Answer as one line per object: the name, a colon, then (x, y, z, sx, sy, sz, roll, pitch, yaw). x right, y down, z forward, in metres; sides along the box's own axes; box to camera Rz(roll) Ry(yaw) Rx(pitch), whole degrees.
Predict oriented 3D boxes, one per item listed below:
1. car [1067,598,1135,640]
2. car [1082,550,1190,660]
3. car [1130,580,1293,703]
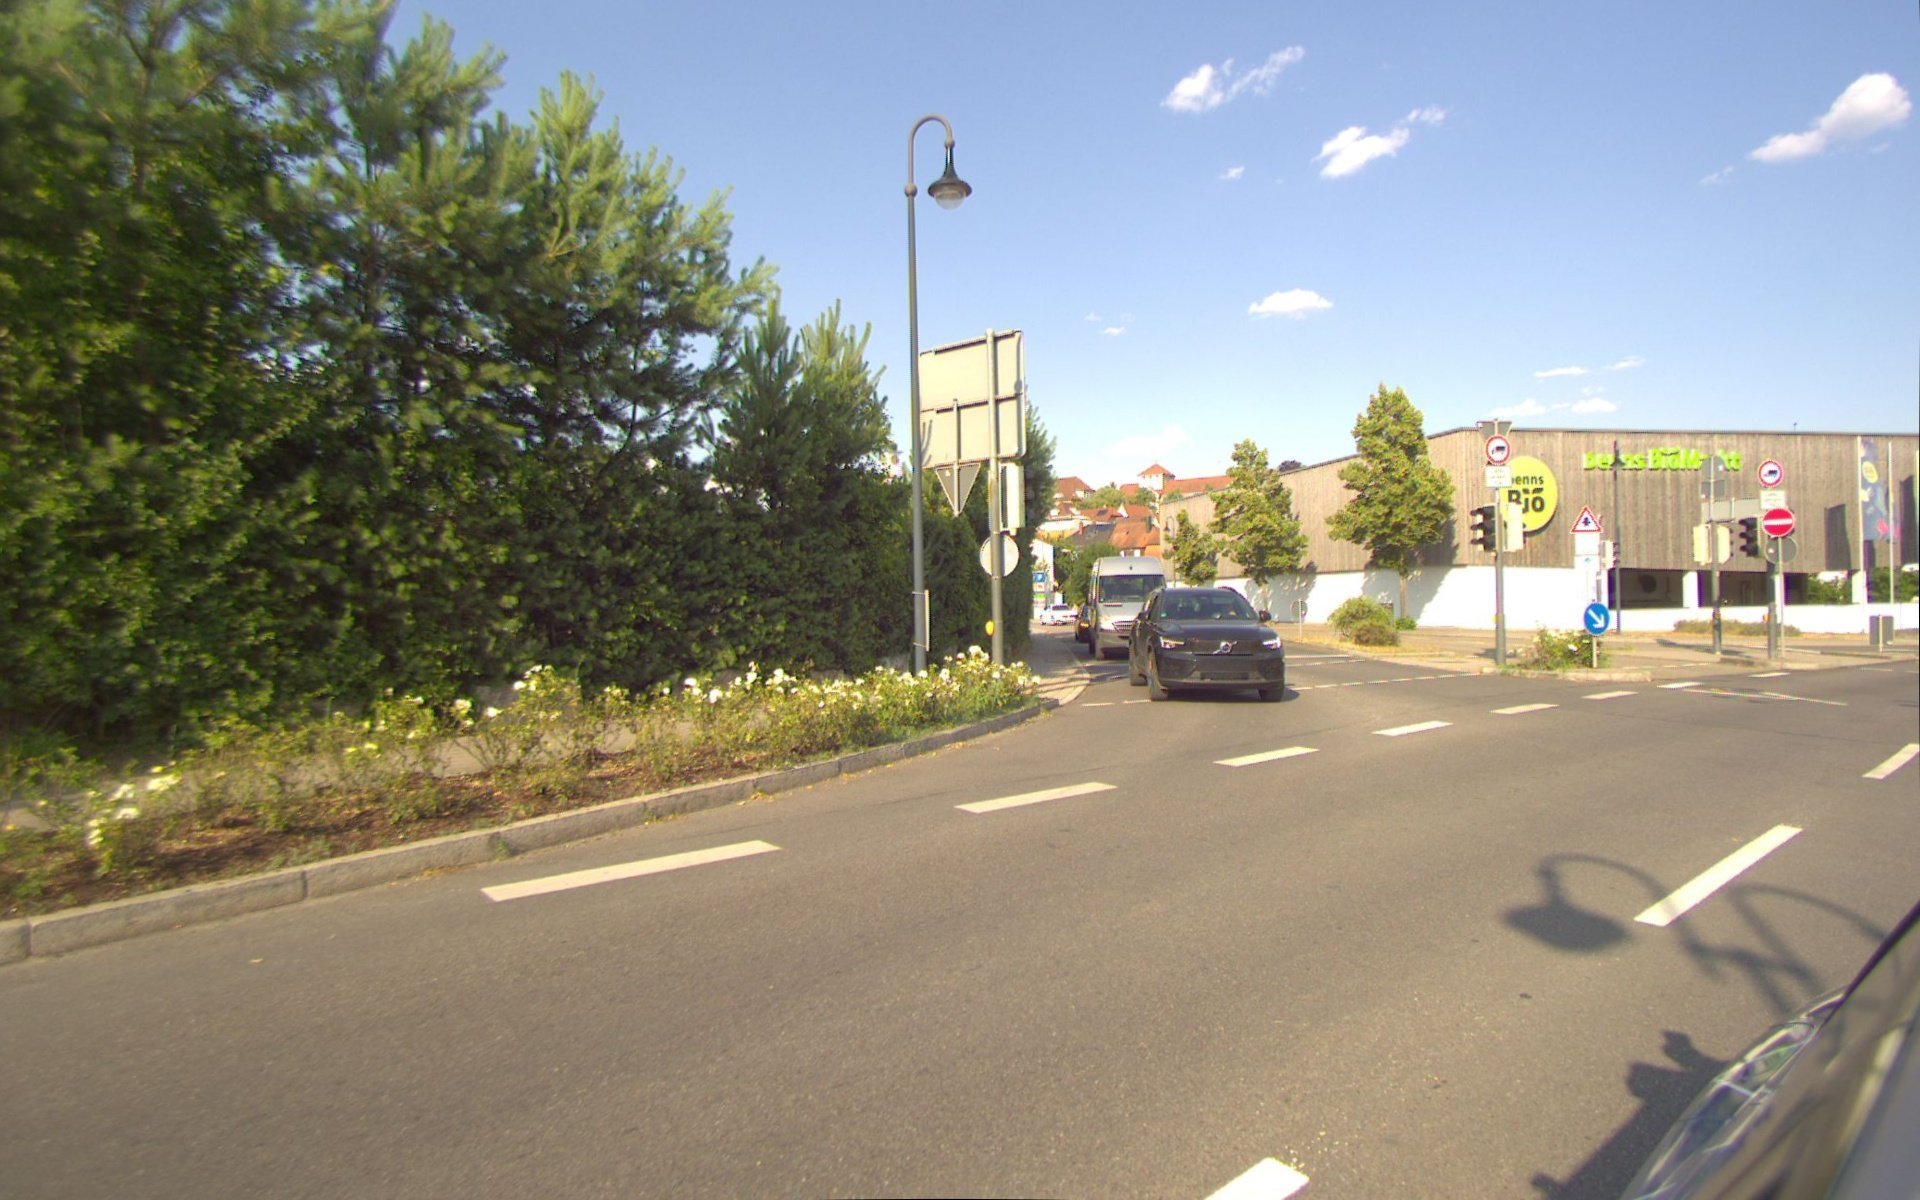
car: (5.293, 0.680, 38.422, 1.821, 1.471, 4.003, 0, 1, -3)
car: (4.481, 0.079, 26.694, 2.155, 2.553, 5.855, 0, 0, 4)
car: (3.642, 0.513, 15.380, 1.761, 1.586, 4.265, 0, 1, 5)
